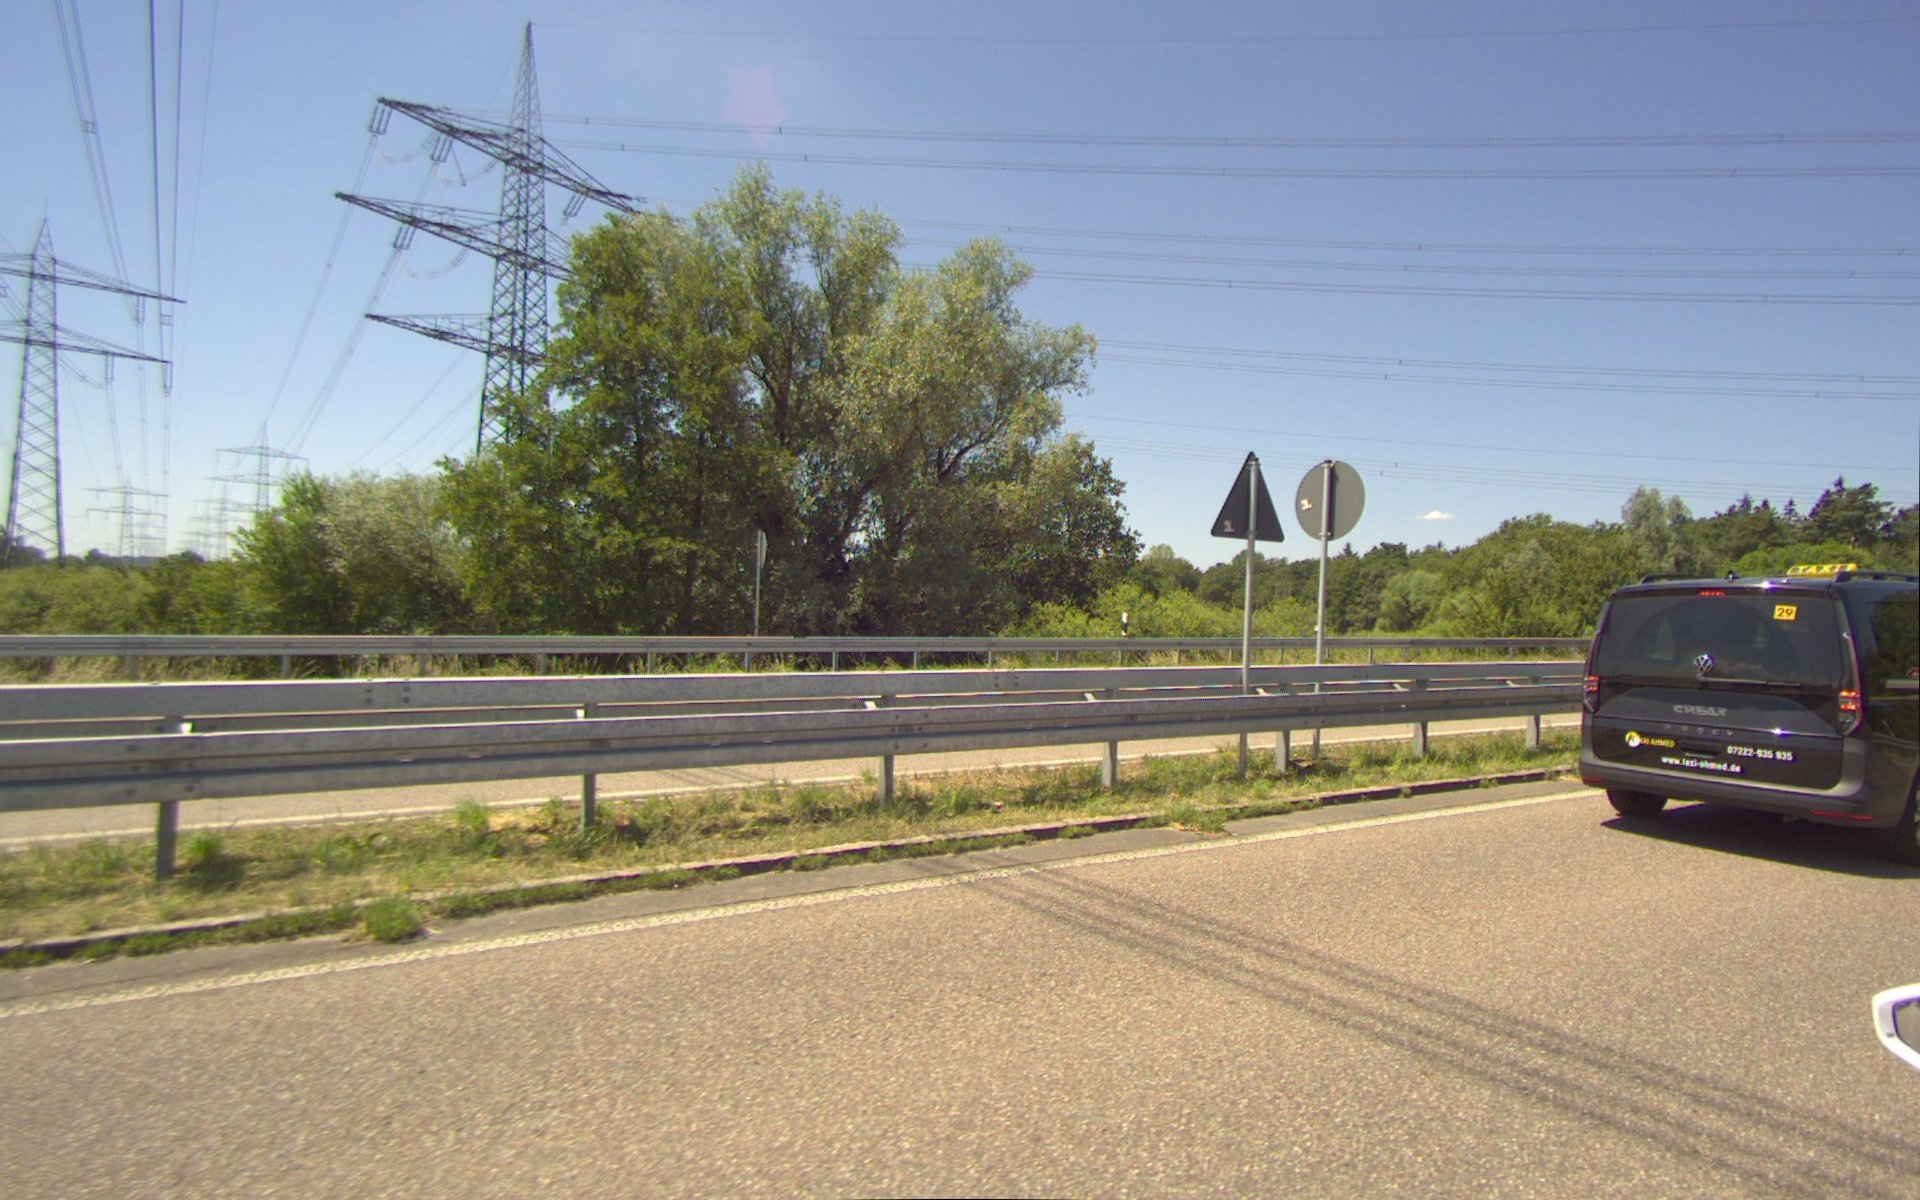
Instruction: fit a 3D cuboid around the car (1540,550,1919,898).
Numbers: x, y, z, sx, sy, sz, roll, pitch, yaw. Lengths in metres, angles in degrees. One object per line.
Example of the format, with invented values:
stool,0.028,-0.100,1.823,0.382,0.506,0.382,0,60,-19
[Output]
car,6.940,0.756,7.758,5.509,1.912,1.845,2,-1,-31
